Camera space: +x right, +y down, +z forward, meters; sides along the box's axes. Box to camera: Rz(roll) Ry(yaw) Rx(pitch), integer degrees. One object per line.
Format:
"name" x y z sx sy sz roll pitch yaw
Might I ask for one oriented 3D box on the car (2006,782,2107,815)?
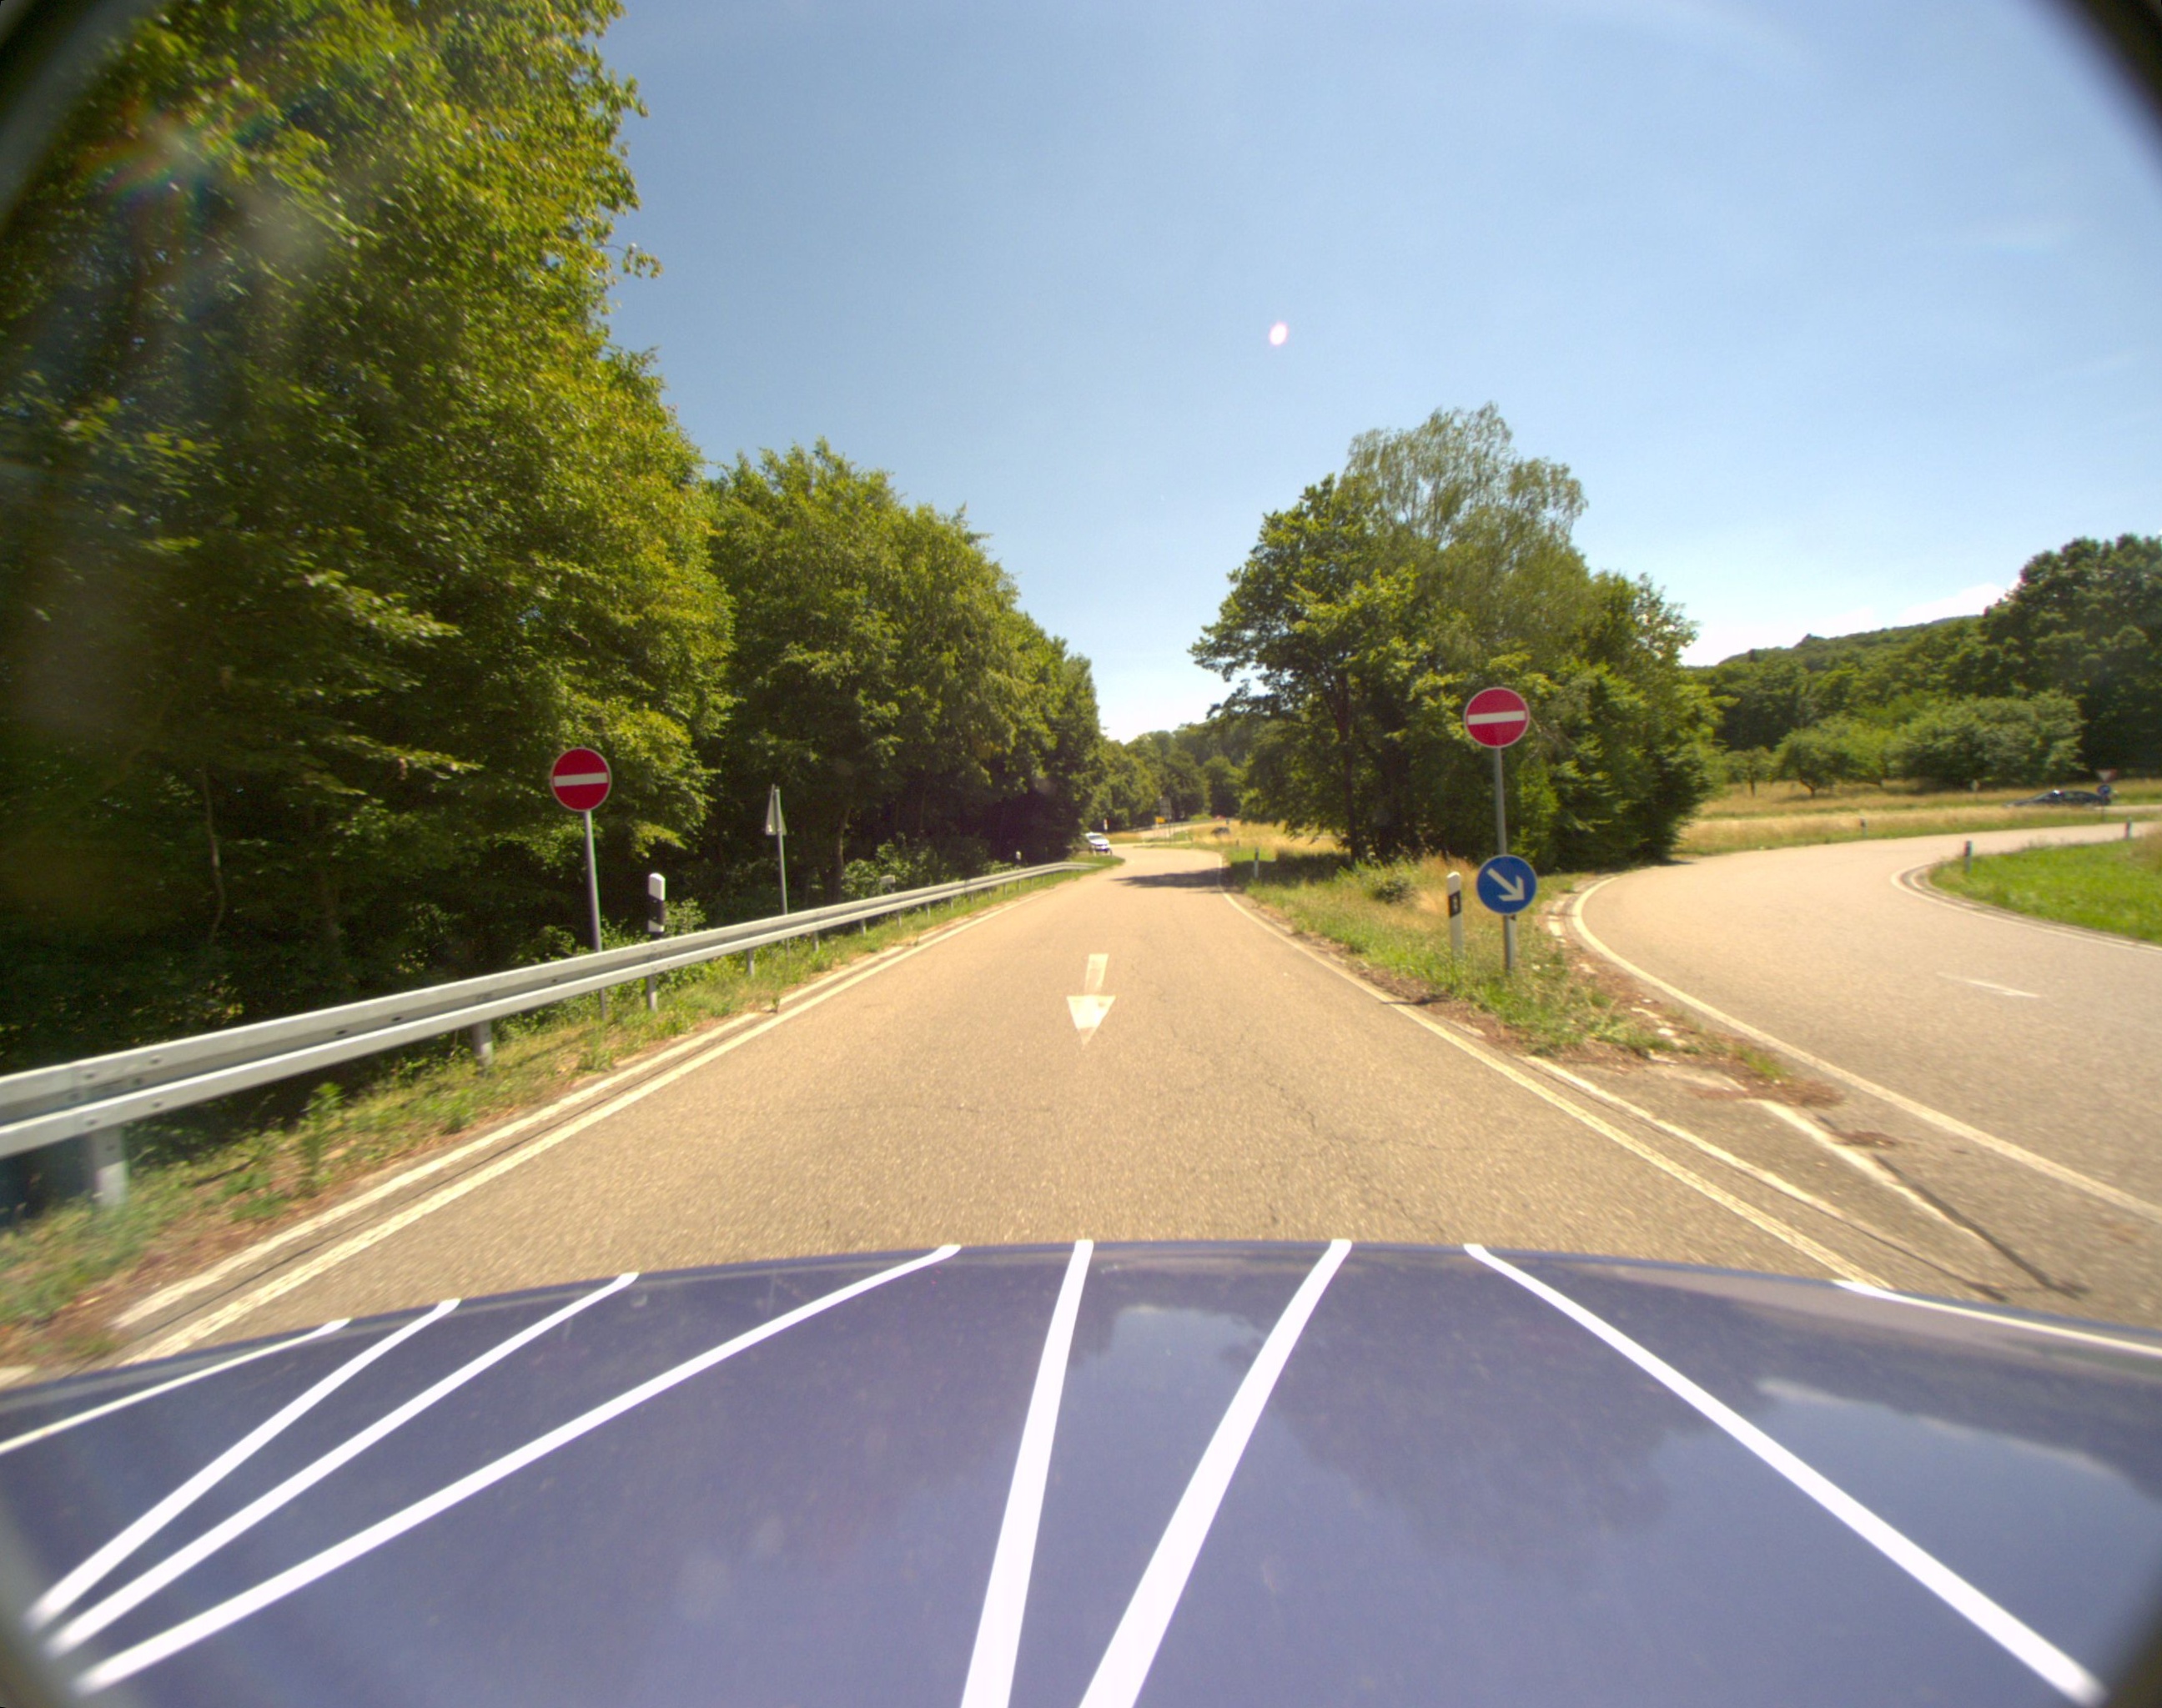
"car" 68.305 -3.879 53.315 3.988 2.003 2.003 -1 4 39

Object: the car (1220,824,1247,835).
"car" 19.339 -3.086 96.458 1.473 1.320 2.953 -6 4 -38

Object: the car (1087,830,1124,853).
"car" 2.368 -1.214 75.027 2.226 2.021 5.421 -4 1 -12
